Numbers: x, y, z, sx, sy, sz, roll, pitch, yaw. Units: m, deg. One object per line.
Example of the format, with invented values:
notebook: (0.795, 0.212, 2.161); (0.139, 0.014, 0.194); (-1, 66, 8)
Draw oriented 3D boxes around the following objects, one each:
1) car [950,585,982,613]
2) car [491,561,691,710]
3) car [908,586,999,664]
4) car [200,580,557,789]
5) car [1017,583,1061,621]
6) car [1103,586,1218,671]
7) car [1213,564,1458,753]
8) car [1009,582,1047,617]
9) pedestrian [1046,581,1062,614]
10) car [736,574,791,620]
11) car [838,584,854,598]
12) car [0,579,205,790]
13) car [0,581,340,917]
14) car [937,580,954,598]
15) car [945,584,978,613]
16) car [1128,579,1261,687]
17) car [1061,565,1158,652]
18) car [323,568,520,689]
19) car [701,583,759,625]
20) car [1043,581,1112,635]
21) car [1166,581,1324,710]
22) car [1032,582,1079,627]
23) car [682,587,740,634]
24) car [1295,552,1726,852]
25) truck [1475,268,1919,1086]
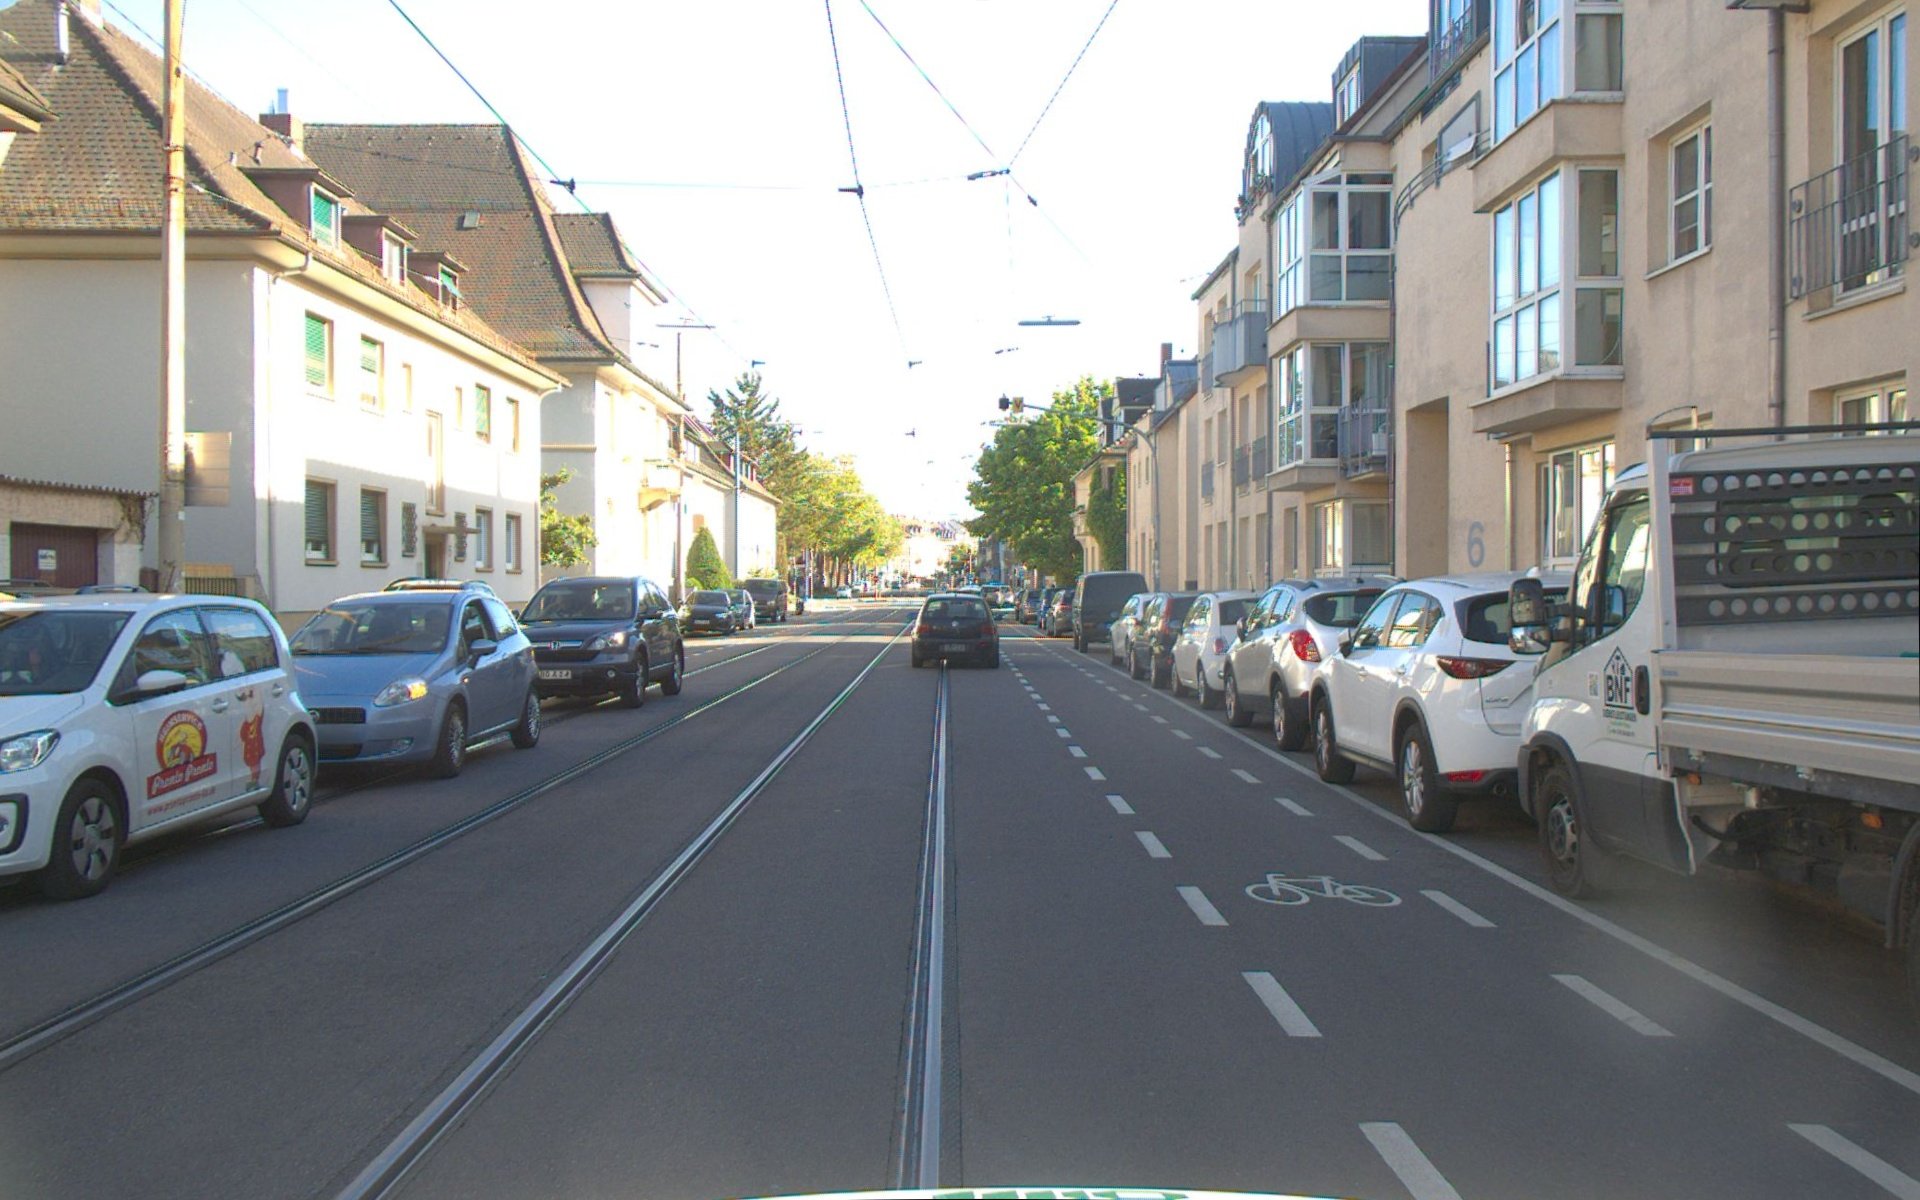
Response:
car: (0.324, -0.067, 90.581); (1.704, 1.466, 3.809); (0, 1, 0)
car: (-4.766, 0.413, 21.958); (1.669, 1.734, 4.363); (-1, 0, 0)
car: (-0.133, 0.444, 32.606); (1.681, 1.427, 4.006); (1, 0, 0)
car: (-4.733, 0.603, 14.092); (1.584, 1.486, 4.075); (-1, 0, 0)
car: (3.412, 0.076, 71.733); (1.569, 1.552, 3.548); (2, 1, -2)
car: (3.875, 0.504, 32.558); (1.643, 1.517, 4.172); (2, 1, -1)
car: (3.838, 0.529, 17.552); (1.570, 1.729, 3.989); (2, 1, -1)
car: (3.259, -0.023, 80.143); (1.632, 1.591, 3.770); (1, 0, 0)
pedestrian: (4.833, -0.134, 84.939); (0.703, 1.717, 0.870); (-1, 0, -2)
car: (-9.097, -0.163, 76.994); (1.867, 2.049, 4.949); (2, 1, 1)
car: (-12.064, -0.944, 174.410); (1.545, 1.503, 3.436); (-1, 1, -6)
car: (-8.369, 0.673, 14.670); (1.583, 1.656, 3.920); (-1, 0, -1)
car: (-4.916, 0.666, 9.133); (1.550, 1.486, 3.614); (-1, 0, 1)
car: (-1.608, -1.215, 185.749); (1.751, 1.892, 3.999); (2, 0, -2)
car: (0.077, -0.103, 81.565); (1.601, 1.396, 3.757); (0, 1, 0)
car: (3.719, 0.475, 26.786); (1.522, 1.584, 3.651); (2, 1, -1)
car: (3.692, 0.179, 41.550); (1.867, 2.022, 4.562); (2, 1, -1)
car: (-8.491, 0.403, 26.515); (1.726, 1.734, 4.554); (-1, 0, -1)
car: (-8.741, 0.137, 63.097); (1.642, 1.503, 3.835); (2, 1, 0)
car: (3.754, 0.217, 53.374); (1.709, 1.627, 4.432); (2, 1, -2)
car: (3.815, 0.557, 22.584); (1.466, 1.584, 3.364); (2, 1, -1)
car: (3.636, 0.140, 63.132); (1.428, 1.627, 3.293); (2, 1, -2)
car: (-8.460, 0.326, 56.337); (1.630, 1.503, 4.247); (0, 1, -4)
car: (3.789, 0.600, 12.205); (1.704, 1.777, 4.255); (2, 1, 0)
truck: (4.077, 0.222, 6.383); (2.248, 2.520, 6.146); (0, 1, 0)
